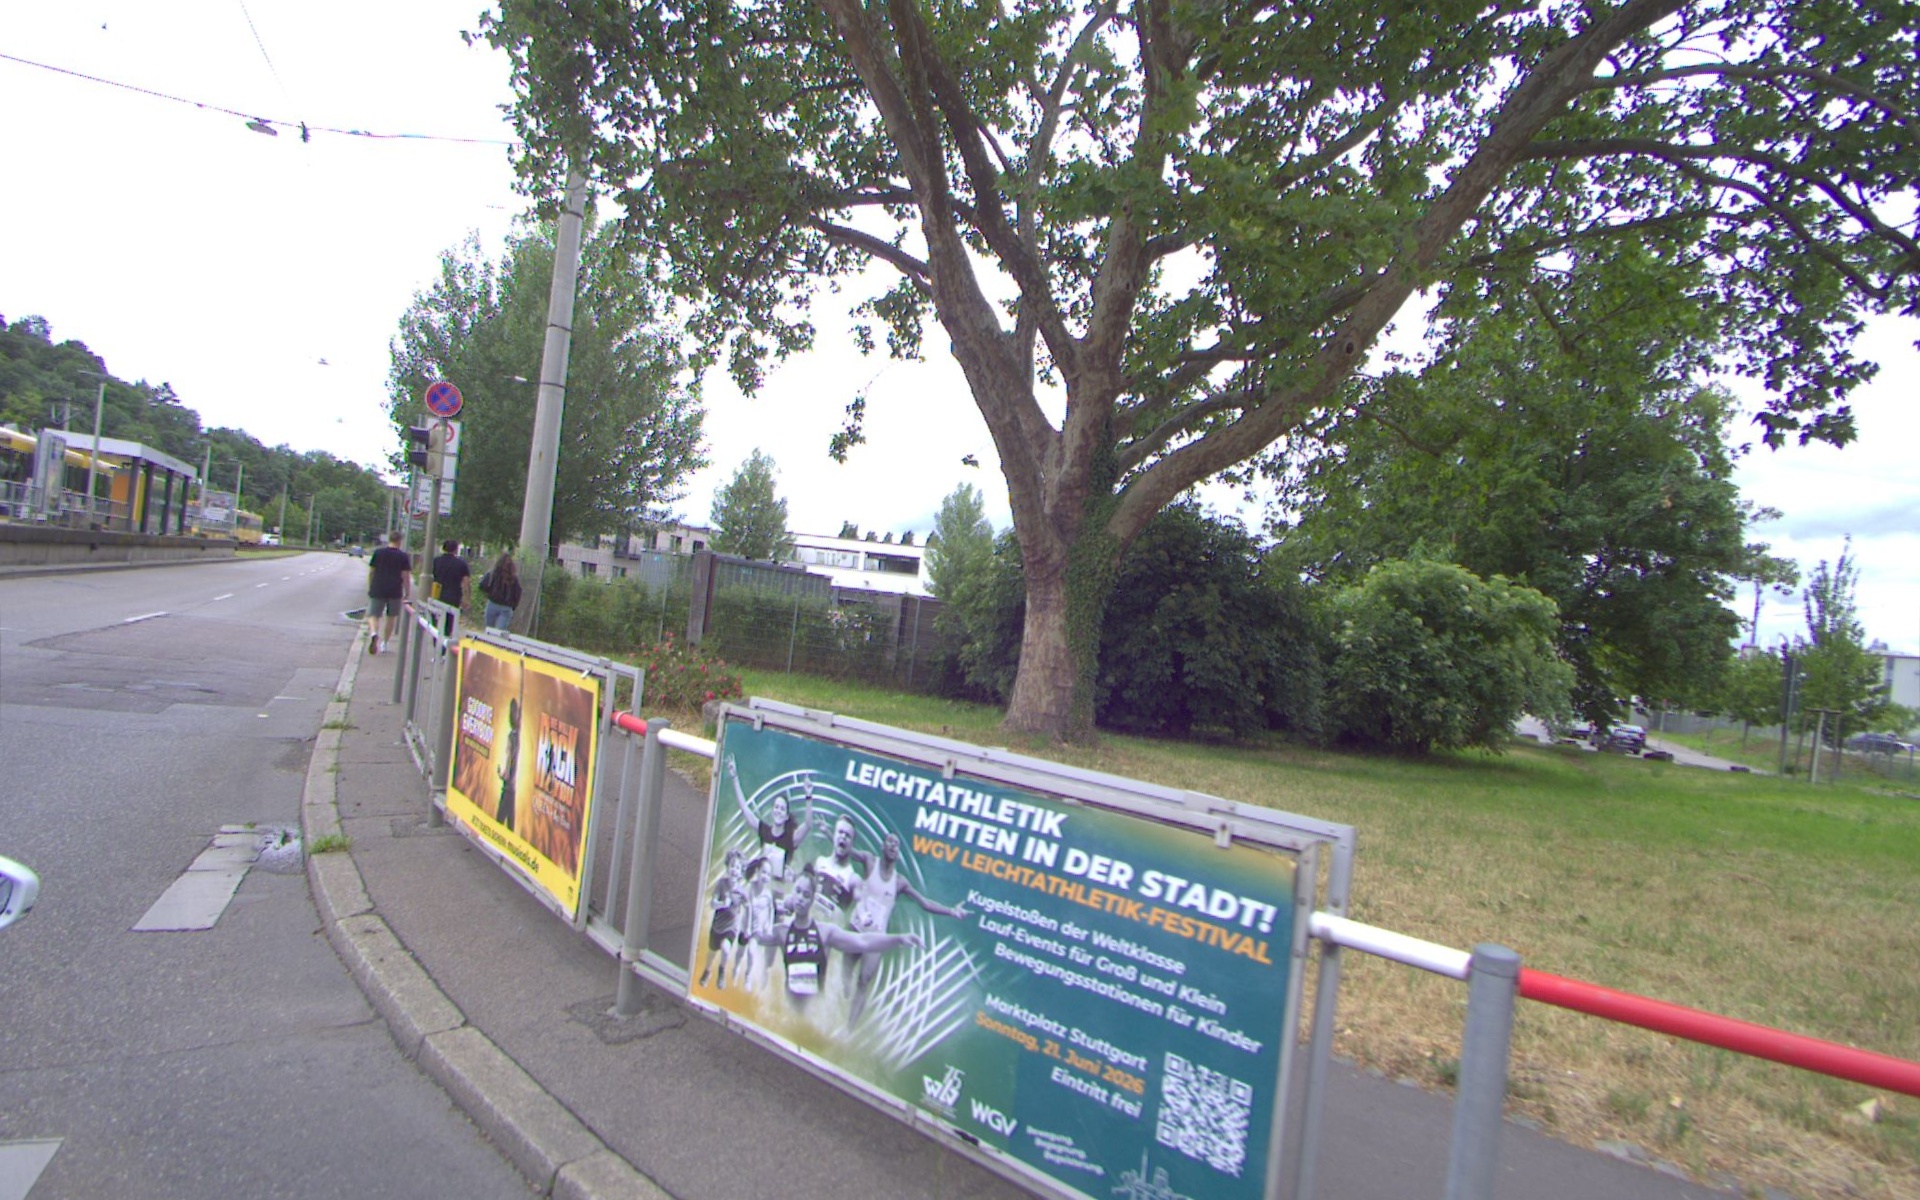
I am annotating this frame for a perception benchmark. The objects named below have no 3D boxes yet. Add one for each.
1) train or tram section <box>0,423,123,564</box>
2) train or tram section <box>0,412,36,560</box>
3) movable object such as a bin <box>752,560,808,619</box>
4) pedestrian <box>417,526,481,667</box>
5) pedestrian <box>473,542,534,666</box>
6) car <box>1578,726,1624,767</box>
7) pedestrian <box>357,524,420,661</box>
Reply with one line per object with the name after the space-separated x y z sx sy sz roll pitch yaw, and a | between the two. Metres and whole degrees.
-31.594 -3.494 34.047 2.720 4.014 11.819 7 -1 -30 | train or tram section
-25.651 -3.069 23.796 2.720 4.014 11.819 7 -1 -30 | train or tram section
-7.841 -0.382 44.179 1.964 2.035 4.299 5 -5 -6 | movable object such as a bin
-7.246 -0.046 14.261 0.598 1.889 0.667 7 -1 -29 | pedestrian
-6.665 0.073 14.688 0.598 1.707 0.667 7 -4 -29 | pedestrian
45.461 10.408 71.330 2.161 2.568 6.467 2 -6 37 | car
-8.348 -0.091 14.706 0.598 1.887 0.667 7 -4 -29 | pedestrian
